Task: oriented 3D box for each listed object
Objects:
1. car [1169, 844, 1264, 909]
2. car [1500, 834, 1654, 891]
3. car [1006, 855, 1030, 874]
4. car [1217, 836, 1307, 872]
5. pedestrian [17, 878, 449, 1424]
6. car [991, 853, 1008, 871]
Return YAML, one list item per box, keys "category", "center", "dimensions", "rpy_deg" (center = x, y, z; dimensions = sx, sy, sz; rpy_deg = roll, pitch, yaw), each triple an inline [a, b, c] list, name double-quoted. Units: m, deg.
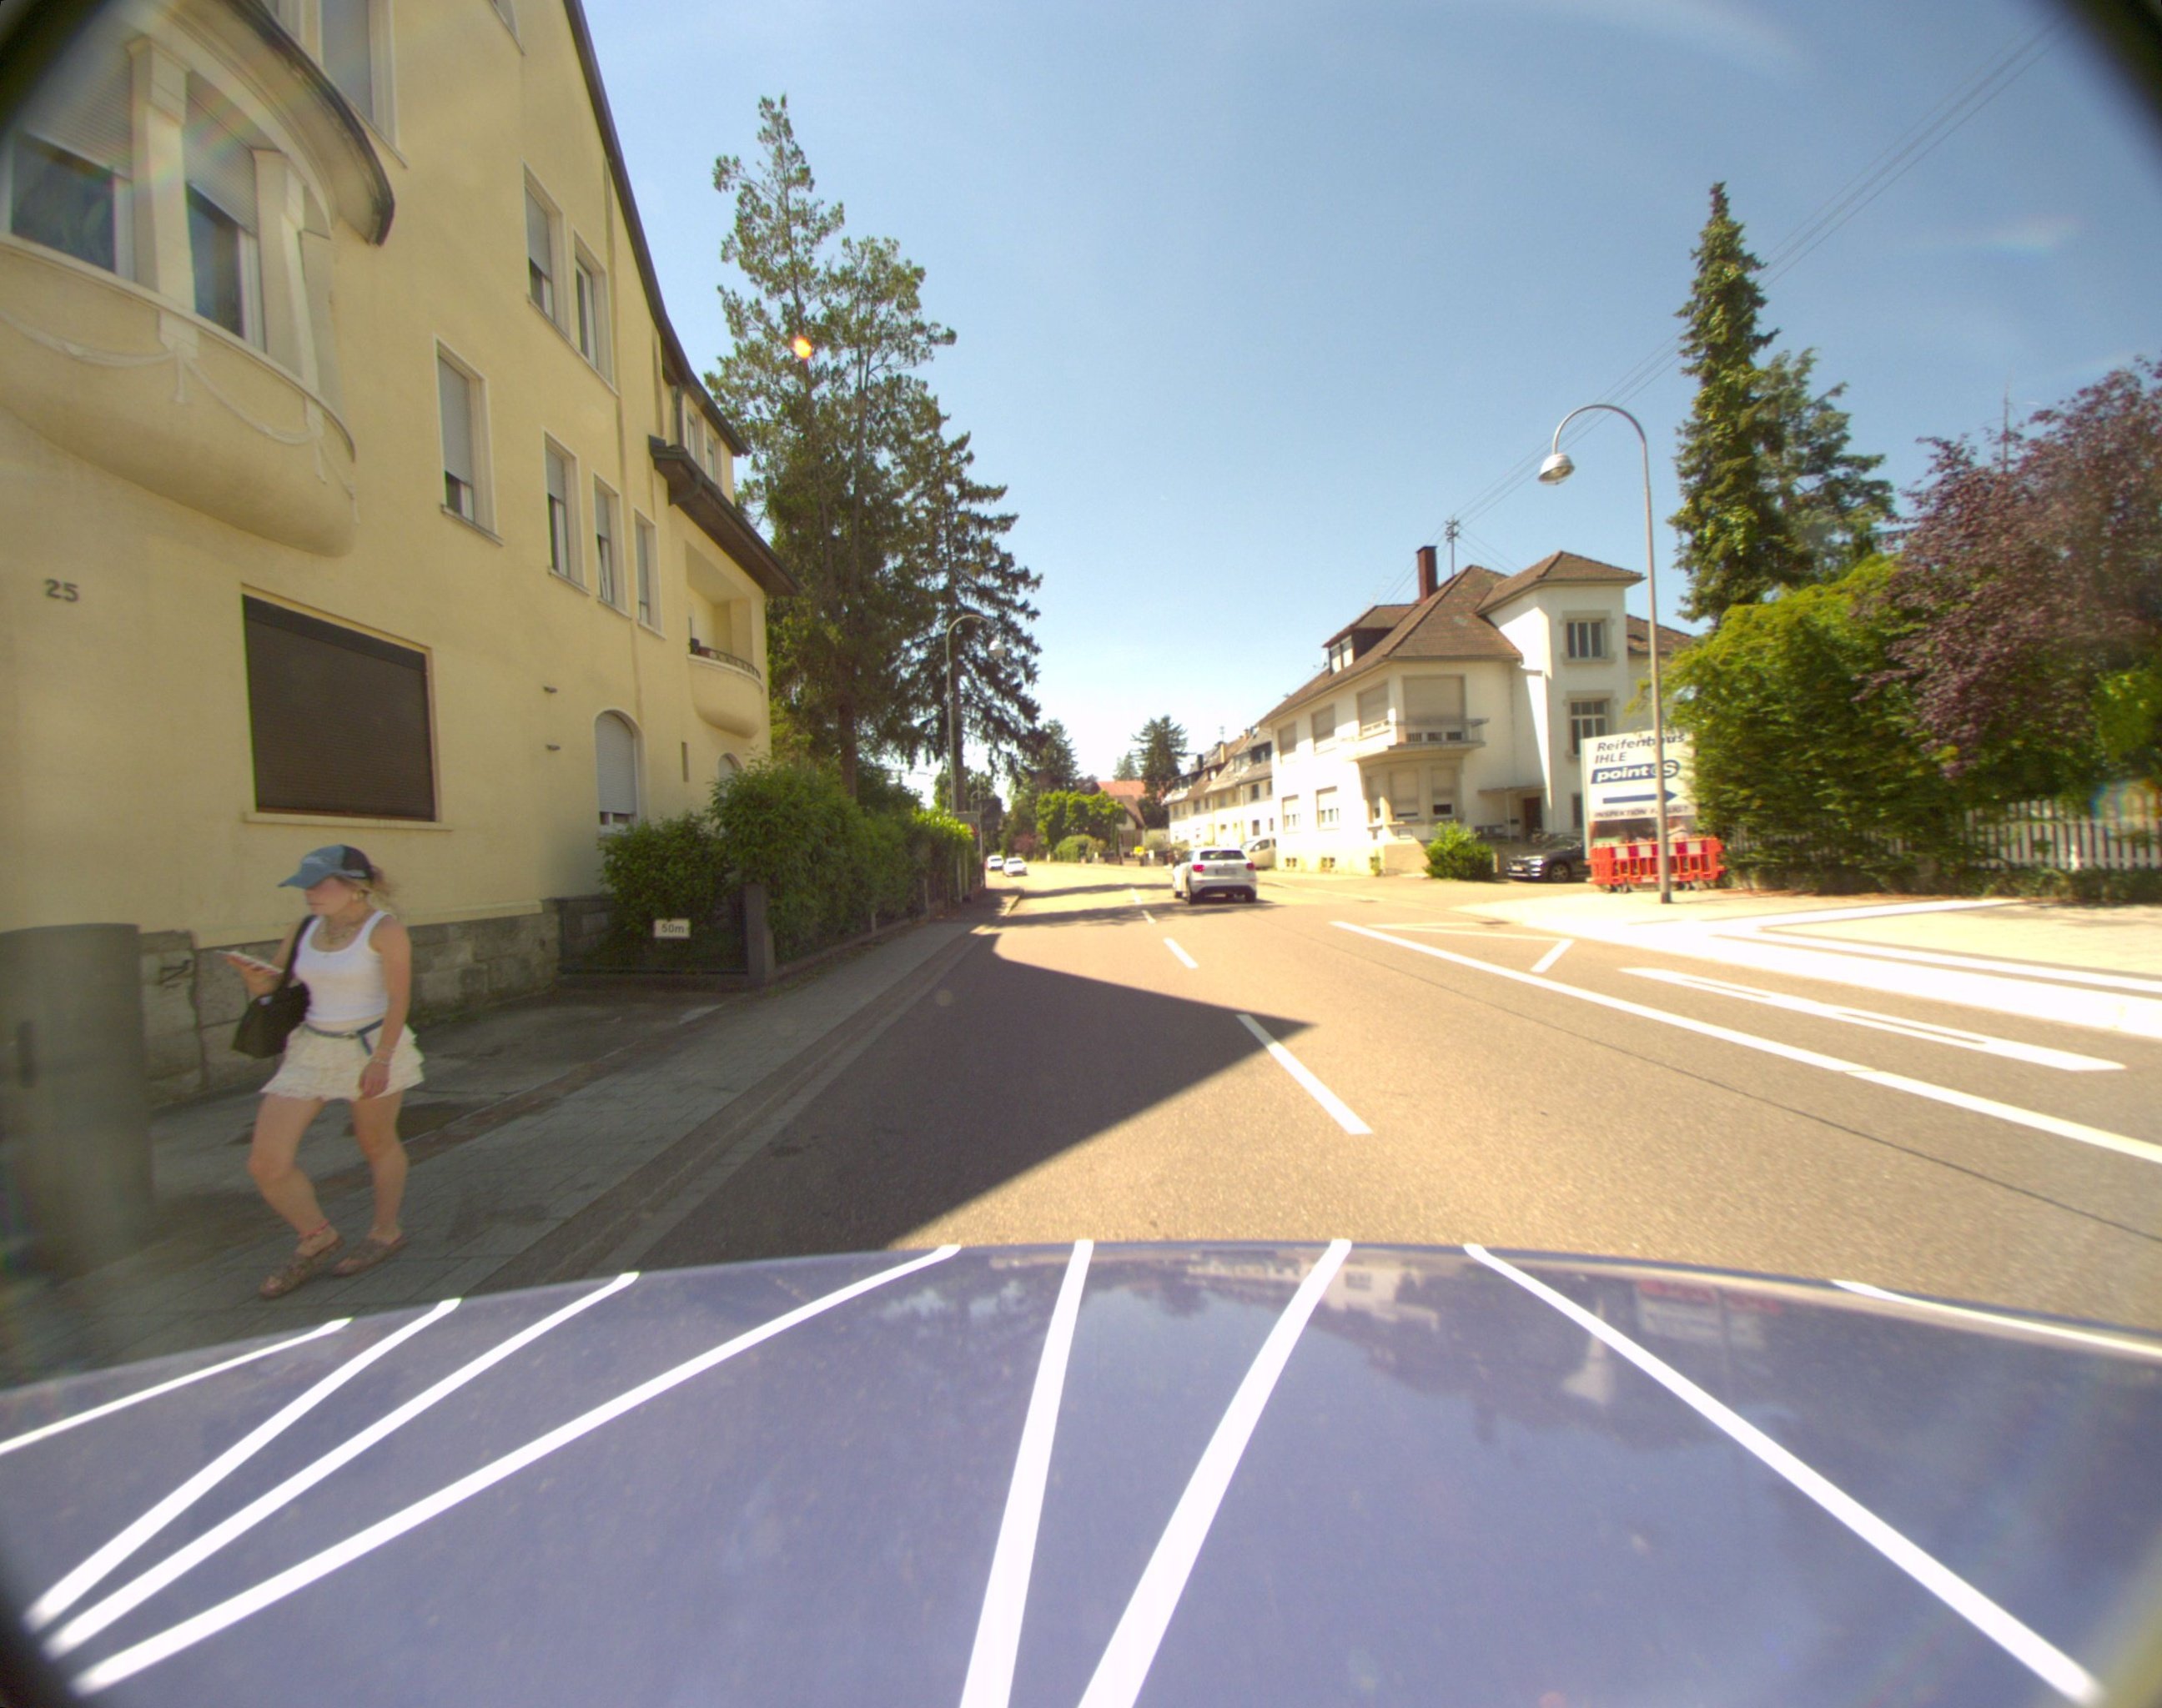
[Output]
- category: "car"
  center: [3.688, 0.549, 21.365]
  dimensions: [1.825, 1.521, 3.948]
  rpy_deg: [-3, 2, -1]
- category: "car"
  center: [16.032, 0.300, 24.665]
  dimensions: [3.933, 1.529, 1.565]
  rpy_deg: [-3, -4, -5]
- category: "car"
  center: [-5.165, 0.840, 62.037]
  dimensions: [1.690, 1.446, 3.737]
  rpy_deg: [-4, 0, -8]
- category: "car"
  center: [9.765, -0.013, 41.037]
  dimensions: [4.367, 1.866, 1.848]
  rpy_deg: [-1, 0, -13]
- category: "pedestrian"
  center: [-2.924, 0.926, 2.728]
  dimensions: [0.625, 1.634, 0.771]
  rpy_deg: [-1, 1, -4]
- category: "car"
  center: [-9.325, 0.895, 86.803]
  dimensions: [1.689, 1.770, 3.937]
  rpy_deg: [-4, 3, -4]
